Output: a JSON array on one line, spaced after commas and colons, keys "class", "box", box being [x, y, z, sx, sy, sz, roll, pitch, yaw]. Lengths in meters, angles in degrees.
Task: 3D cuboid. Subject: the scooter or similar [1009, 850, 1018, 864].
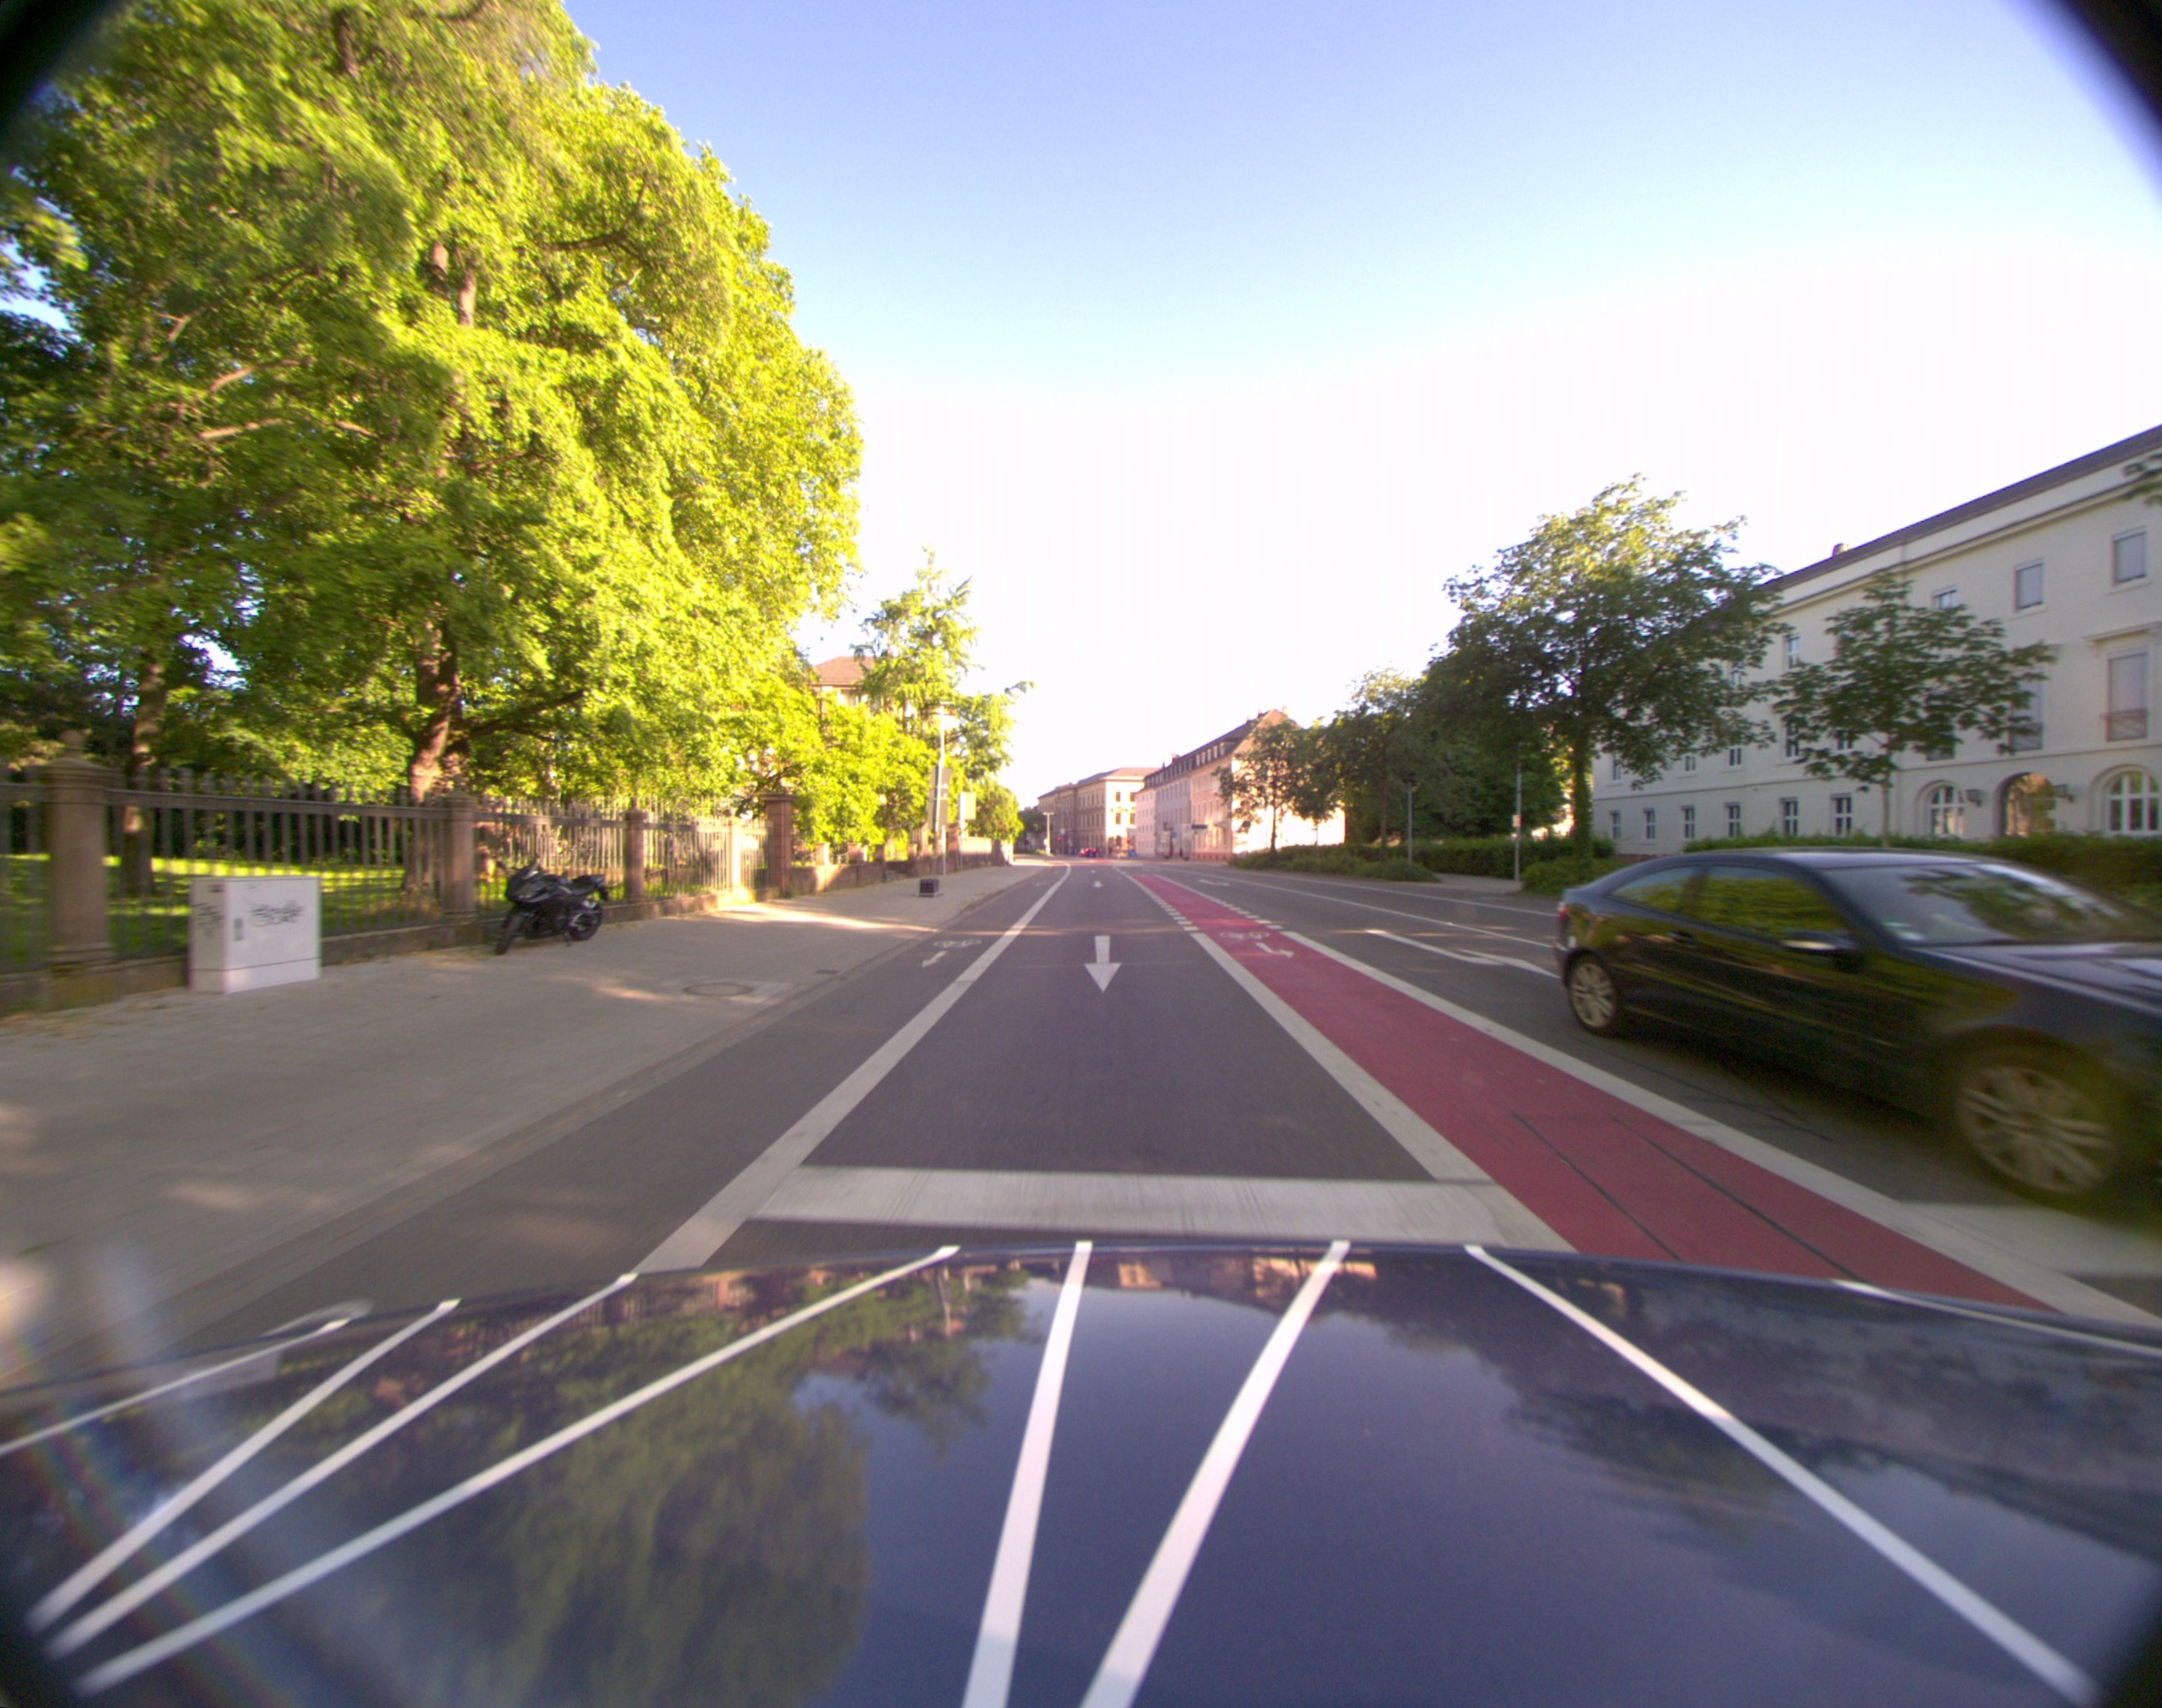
[{"class": "scooter or similar", "box": [-5.231, 0.237, 59.070, 0.416, 1.035, 1.779, -2, 1, 2]}]

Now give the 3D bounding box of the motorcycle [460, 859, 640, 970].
[{"class": "motorcycle", "box": [-6.956, 0.736, 10.124, 0.906, 1.285, 2.038, 0, 1, 2]}]

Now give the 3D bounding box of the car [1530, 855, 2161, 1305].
[{"class": "car", "box": [4.577, 0.783, 4.108, 1.721, 1.410, 4.527, -2, 1, 2]}]

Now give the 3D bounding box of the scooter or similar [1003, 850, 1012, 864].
[{"class": "scooter or similar", "box": [-5.736, 0.220, 59.180, 0.416, 1.035, 1.779, -2, 1, 2]}]

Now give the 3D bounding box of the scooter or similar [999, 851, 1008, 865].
[{"class": "scooter or similar", "box": [-5.814, 0.286, 56.875, 0.416, 1.035, 1.779, -2, 1, 2]}]
